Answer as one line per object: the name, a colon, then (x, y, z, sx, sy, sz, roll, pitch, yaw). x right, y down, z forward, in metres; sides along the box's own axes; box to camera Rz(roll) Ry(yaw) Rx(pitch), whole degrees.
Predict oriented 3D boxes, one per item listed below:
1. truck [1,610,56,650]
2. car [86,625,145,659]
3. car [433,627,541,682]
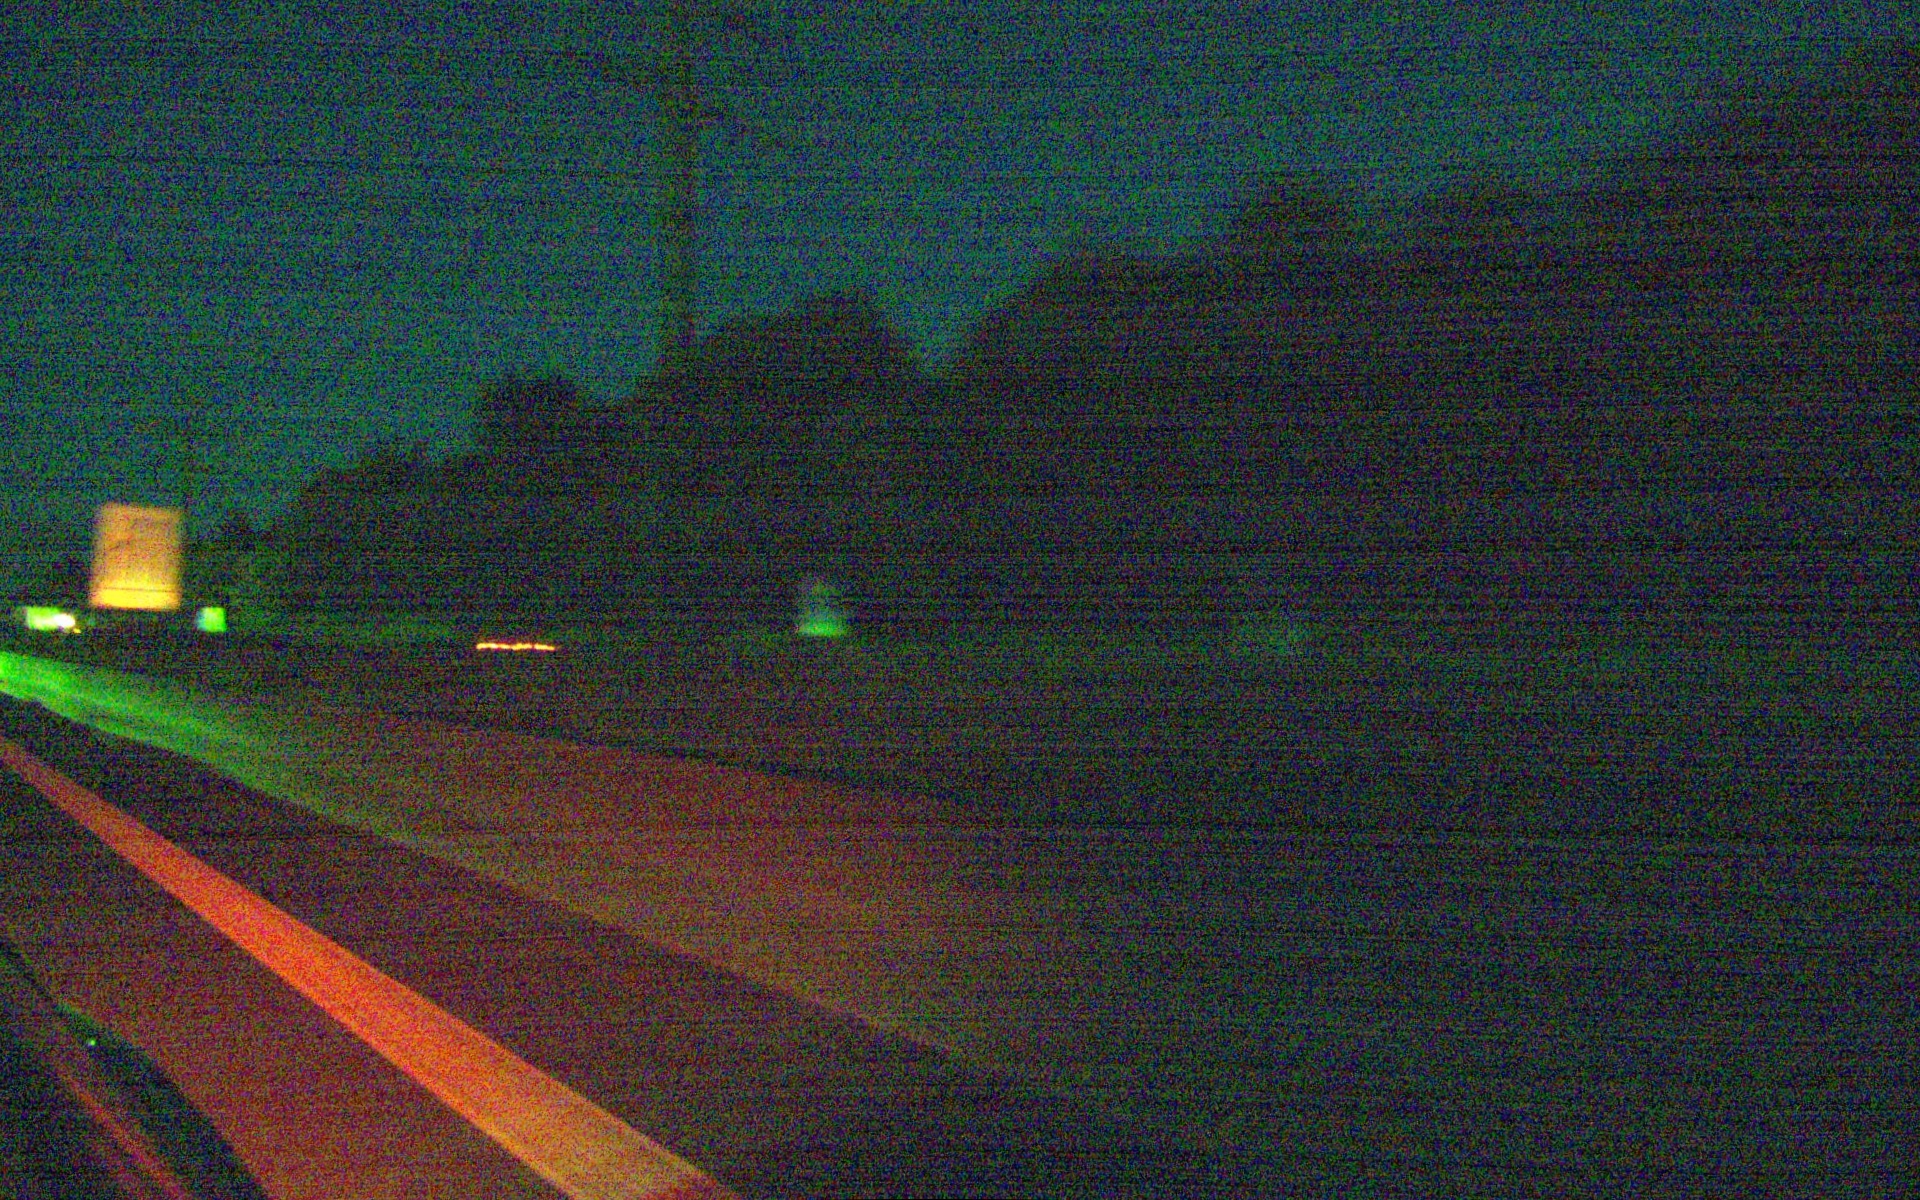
truck: (-105.025, 3.543, 114.011, 16.977, 4.235, 3.079, -3, -4, 43)
car: (-48.292, 2.341, 57.821, 5.167, 1.696, 1.774, 0, 1, 41)
car: (-15.944, 1.771, 34.030, 4.468, 1.563, 1.621, 0, 1, 41)
